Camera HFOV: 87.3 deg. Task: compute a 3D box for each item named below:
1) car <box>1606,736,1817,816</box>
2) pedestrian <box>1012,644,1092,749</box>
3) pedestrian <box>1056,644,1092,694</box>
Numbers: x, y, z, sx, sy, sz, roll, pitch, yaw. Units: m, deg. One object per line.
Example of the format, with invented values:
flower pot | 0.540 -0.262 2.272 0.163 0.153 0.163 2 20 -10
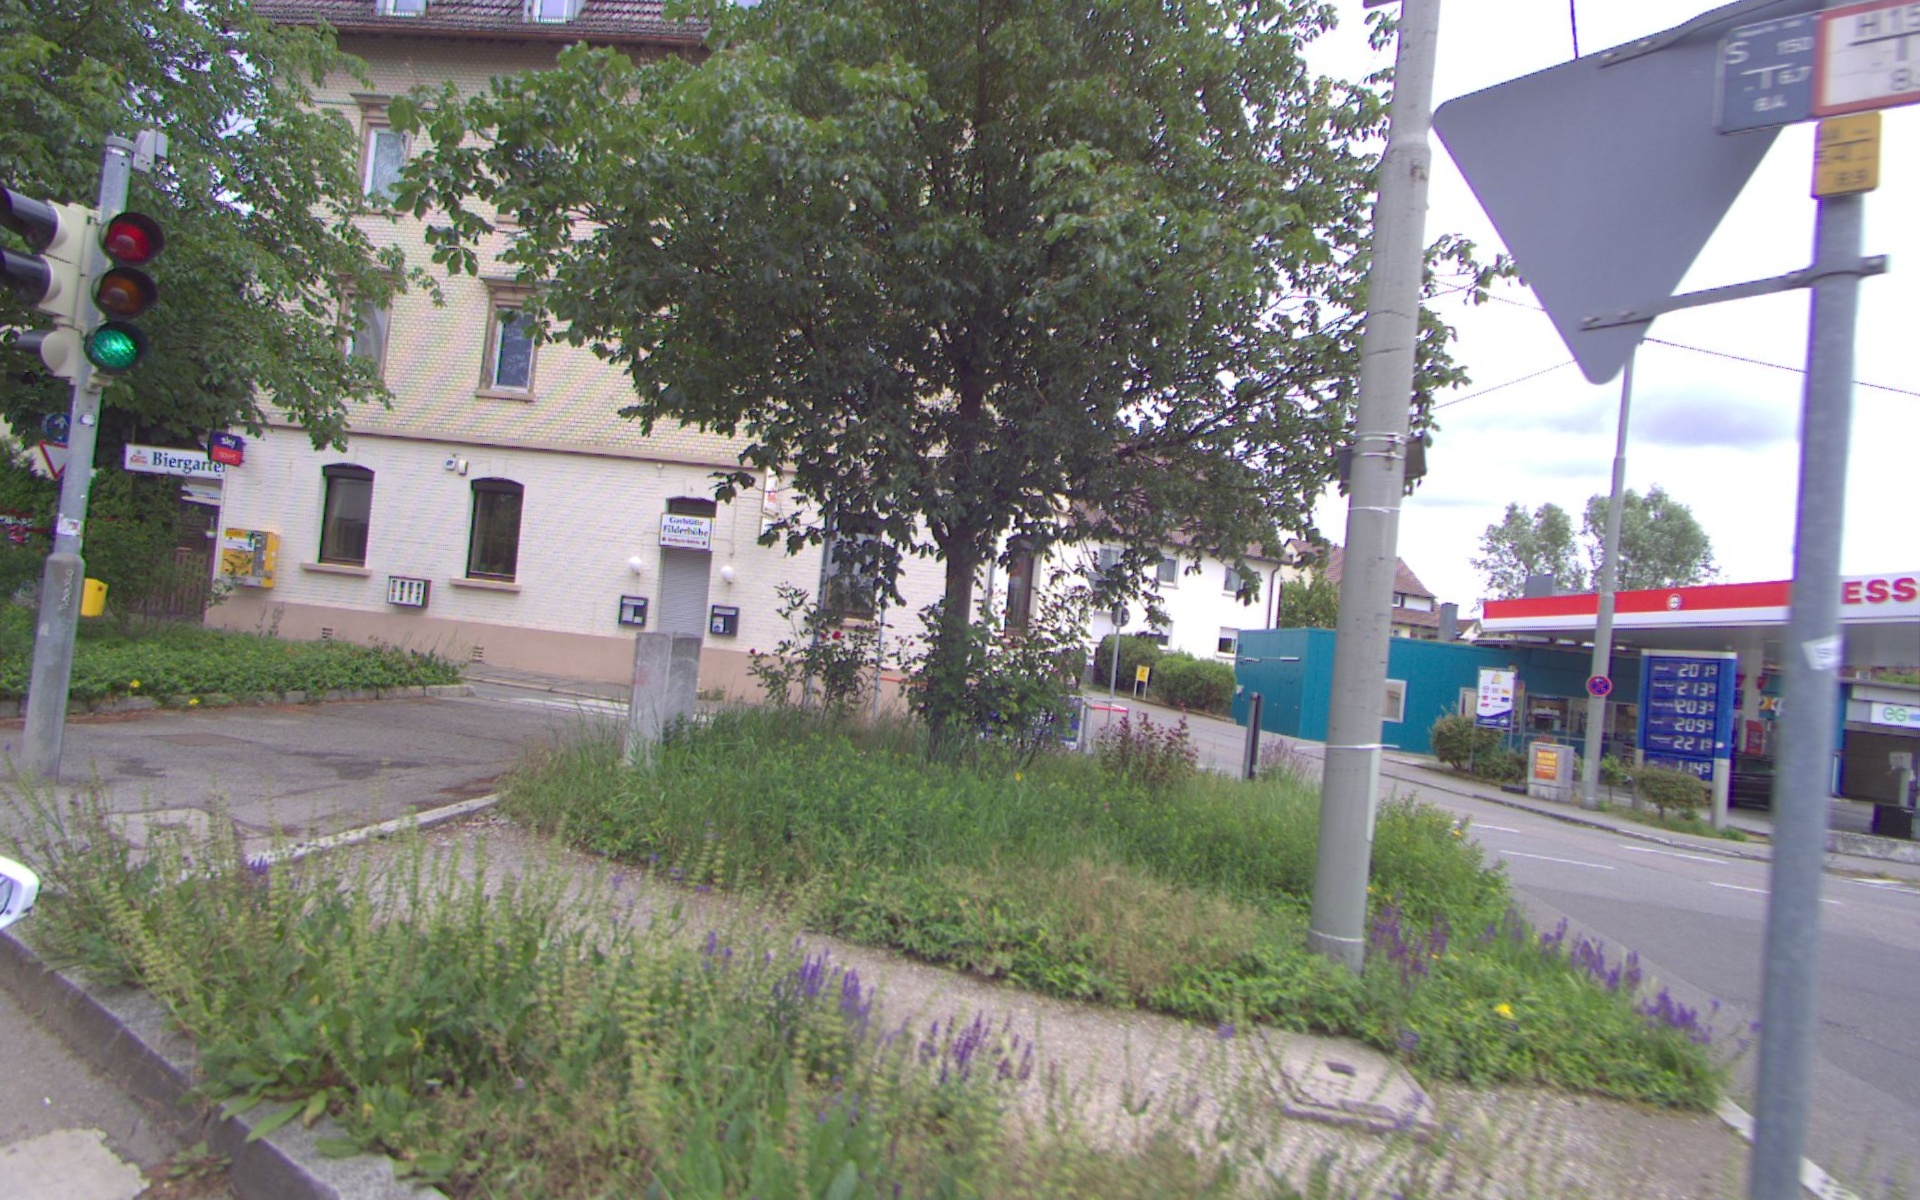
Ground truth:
car | 20.727 4.836 27.856 4.403 1.478 1.924 7 -2 -4
pedestrian | 1.688 1.772 18.410 0.847 1.751 1.021 7 -3 34
pedestrian | 4.447 2.689 39.142 0.904 1.757 0.741 10 -3 -29
